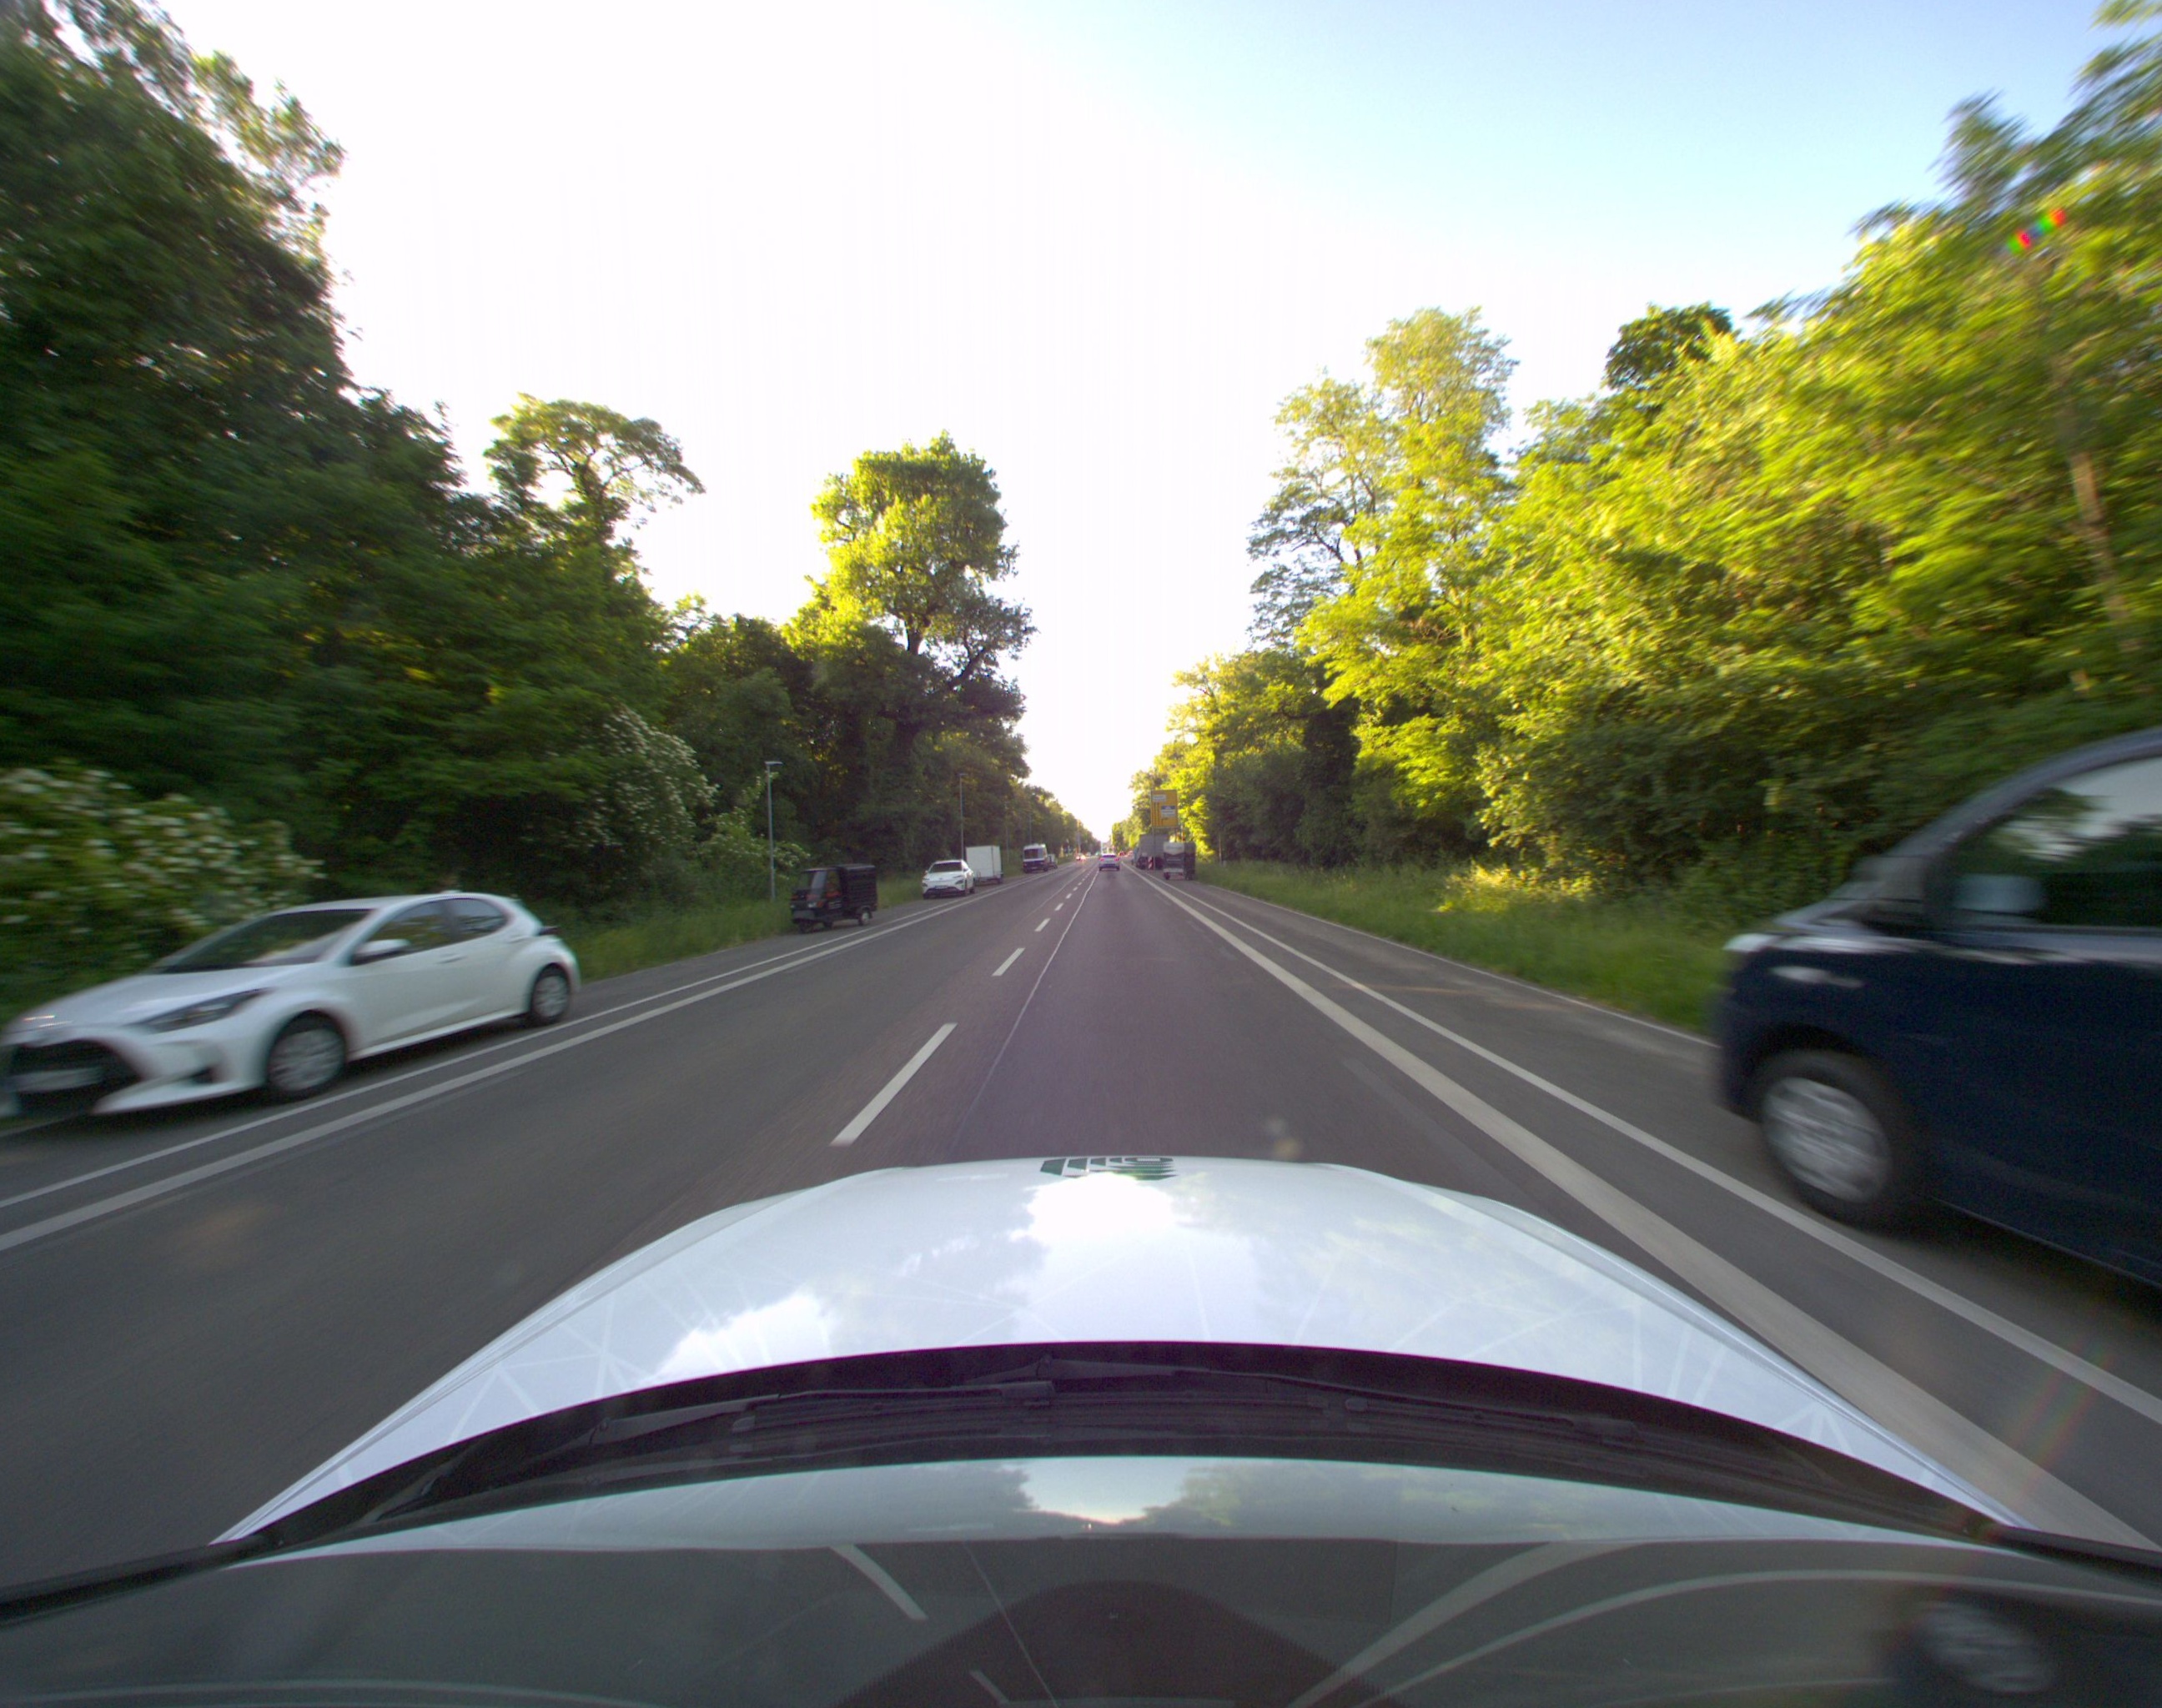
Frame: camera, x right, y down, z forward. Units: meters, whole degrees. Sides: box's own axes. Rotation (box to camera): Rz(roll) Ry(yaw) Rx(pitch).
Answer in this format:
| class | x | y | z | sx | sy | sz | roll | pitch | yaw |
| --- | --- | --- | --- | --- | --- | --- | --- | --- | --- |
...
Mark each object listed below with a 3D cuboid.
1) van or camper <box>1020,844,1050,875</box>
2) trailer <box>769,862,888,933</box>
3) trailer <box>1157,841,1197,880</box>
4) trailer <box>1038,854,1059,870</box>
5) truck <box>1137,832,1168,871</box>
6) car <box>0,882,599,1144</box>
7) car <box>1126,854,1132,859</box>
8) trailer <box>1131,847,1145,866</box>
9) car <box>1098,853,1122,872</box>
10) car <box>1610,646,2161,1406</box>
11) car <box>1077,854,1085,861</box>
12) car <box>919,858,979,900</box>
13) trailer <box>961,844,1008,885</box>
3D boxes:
| class | x | y | z | sx | sy | sz | roll | pitch | yaw |
| --- | --- | --- | --- | --- | --- | --- | --- | --- | --- |
| van or camper | -4.423 | 0.495 | 79.303 | 2.293 | 2.768 | 5.559 | -4 | 0 | 2 |
| trailer | -6.228 | 1.036 | 20.324 | 1.383 | 1.574 | 2.689 | -2 | 0 | 22 |
| trailer | 5.460 | 0.355 | 46.099 | 1.600 | 2.112 | 2.409 | -1 | 0 | 22 |
| trailer | -3.694 | 0.863 | 92.764 | 1.459 | 1.659 | 3.379 | -4 | -1 | 14 |
| truck | 6.593 | -0.200 | 75.974 | 2.495 | 3.366 | 7.111 | -1 | 0 | 2 |
| car | -6.564 | 1.119 | 7.291 | 1.860 | 1.450 | 4.073 | -4 | 0 | 2 |
| car | 14.566 | 0.701 | 246.812 | 1.985 | 1.618 | 4.003 | 0 | 0 | 3 |
| trailer | 6.932 | 0.280 | 99.284 | 1.494 | 2.235 | 4.552 | 0 | 0 | 2 |
| car | 2.574 | 0.724 | 72.055 | 1.986 | 1.640 | 4.002 | -2 | 0 | 2 |
| car | 3.914 | 0.460 | 2.017 | 2.105 | 2.013 | 5.042 | 0 | 0 | 2 |
| car | 0.005 | 0.806 | 175.231 | 1.672 | 1.415 | 4.002 | -2 | 0 | 2 |
| car | -5.620 | 1.016 | 35.164 | 1.808 | 1.571 | 4.206 | -4 | 0 | 0 |
| trailer | -5.733 | 0.601 | 48.658 | 2.066 | 2.293 | 3.490 | -3 | 0 | 4 |
